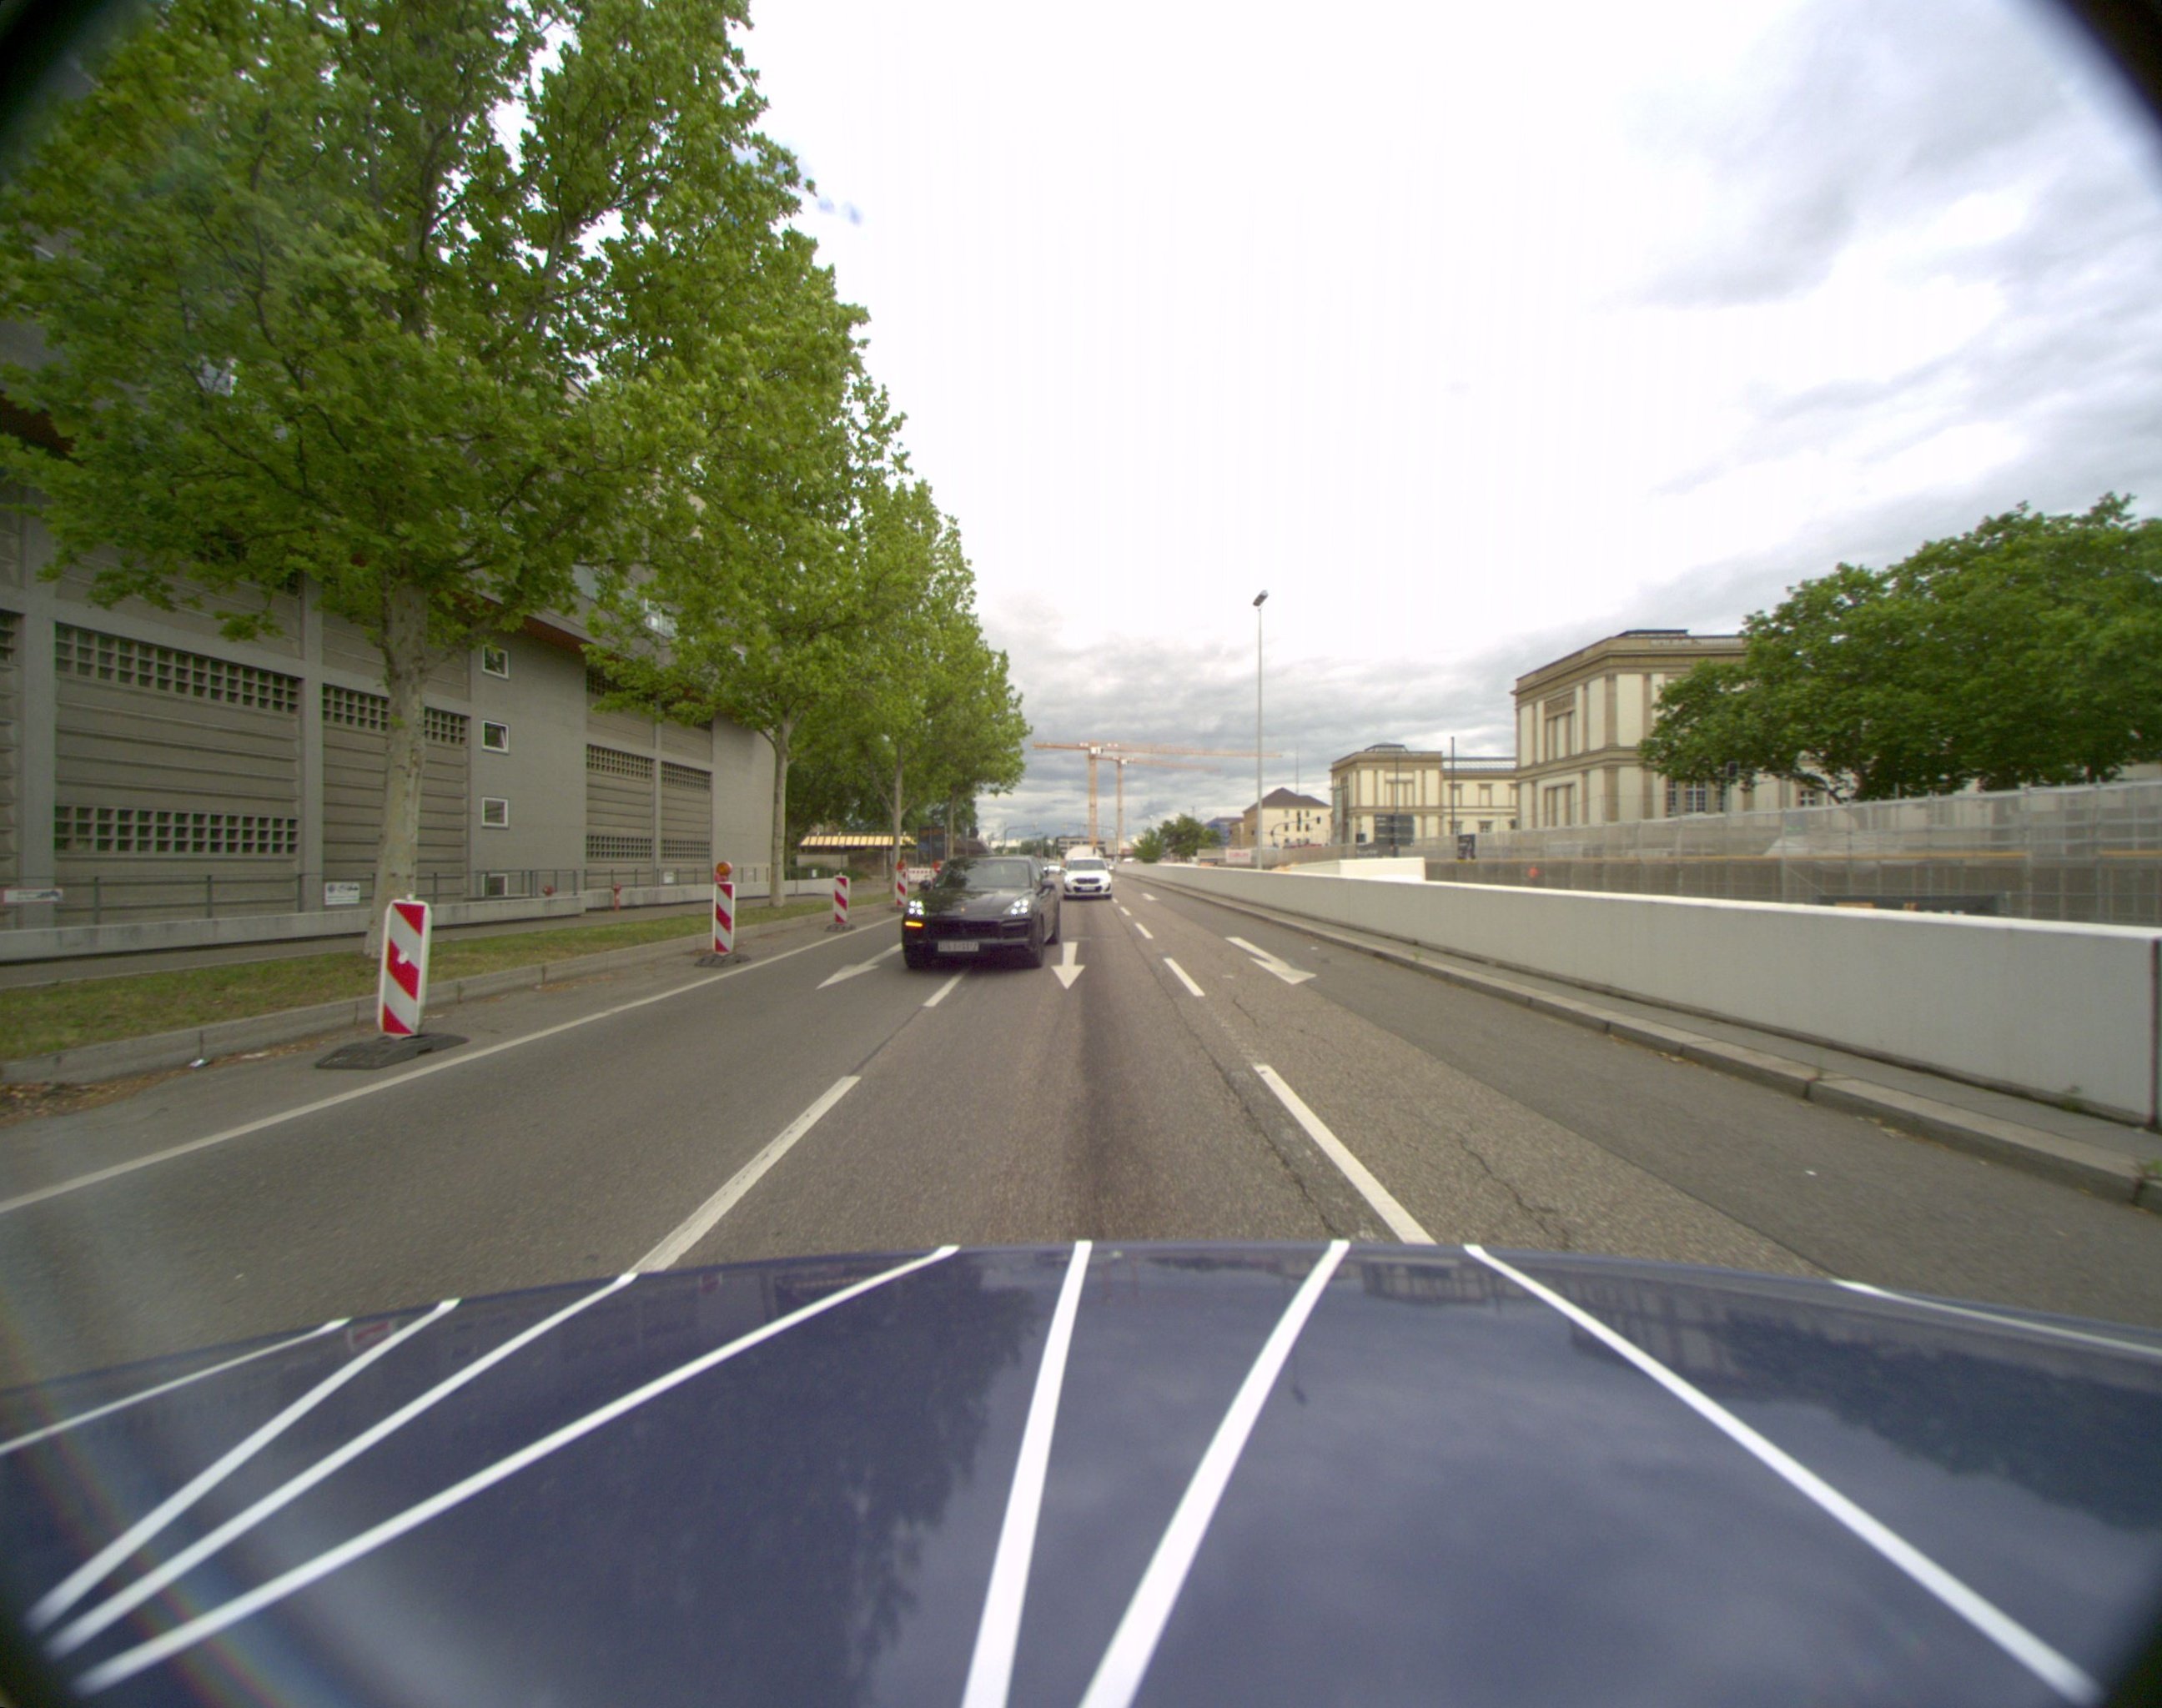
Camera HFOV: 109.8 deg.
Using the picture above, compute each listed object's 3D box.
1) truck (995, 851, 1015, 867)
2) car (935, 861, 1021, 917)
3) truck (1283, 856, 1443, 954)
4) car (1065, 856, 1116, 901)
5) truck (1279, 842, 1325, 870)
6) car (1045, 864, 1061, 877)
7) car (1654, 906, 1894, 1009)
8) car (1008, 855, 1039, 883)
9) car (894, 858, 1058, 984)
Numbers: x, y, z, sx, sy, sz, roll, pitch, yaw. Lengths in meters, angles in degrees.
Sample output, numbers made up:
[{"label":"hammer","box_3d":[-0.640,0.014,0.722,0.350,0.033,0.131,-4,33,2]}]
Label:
[{"label":"truck","box_3d":[-17.935,1.149,178.702,2.913,3.653,9.015,0,-1,-16]},{"label":"car","box_3d":[-3.035,1.001,23.276,1.738,1.427,4.382,2,0,4]},{"label":"truck","box_3d":[8.699,1.527,24.423,2.609,2.695,6.676,0,-2,-1]},{"label":"car","box_3d":[0.320,0.953,29.311,1.812,1.595,3.714,-1,-2,0]},{"label":"truck","box_3d":[34.932,0.459,120.916,2.924,4.058,16.619,1,-1,2]},{"label":"car","box_3d":[-3.535,2.046,96.482,1.998,1.632,4.000,0,0,0]},{"label":"car","box_3d":[13.730,1.984,15.355,1.755,1.558,3.377,2,0,1]},{"label":"car","box_3d":[-3.879,1.010,51.792,1.812,1.815,3.773,0,0,0]},{"label":"car","box_3d":[-1.469,0.901,12.402,1.956,1.638,4.608,0,0,1]}]
